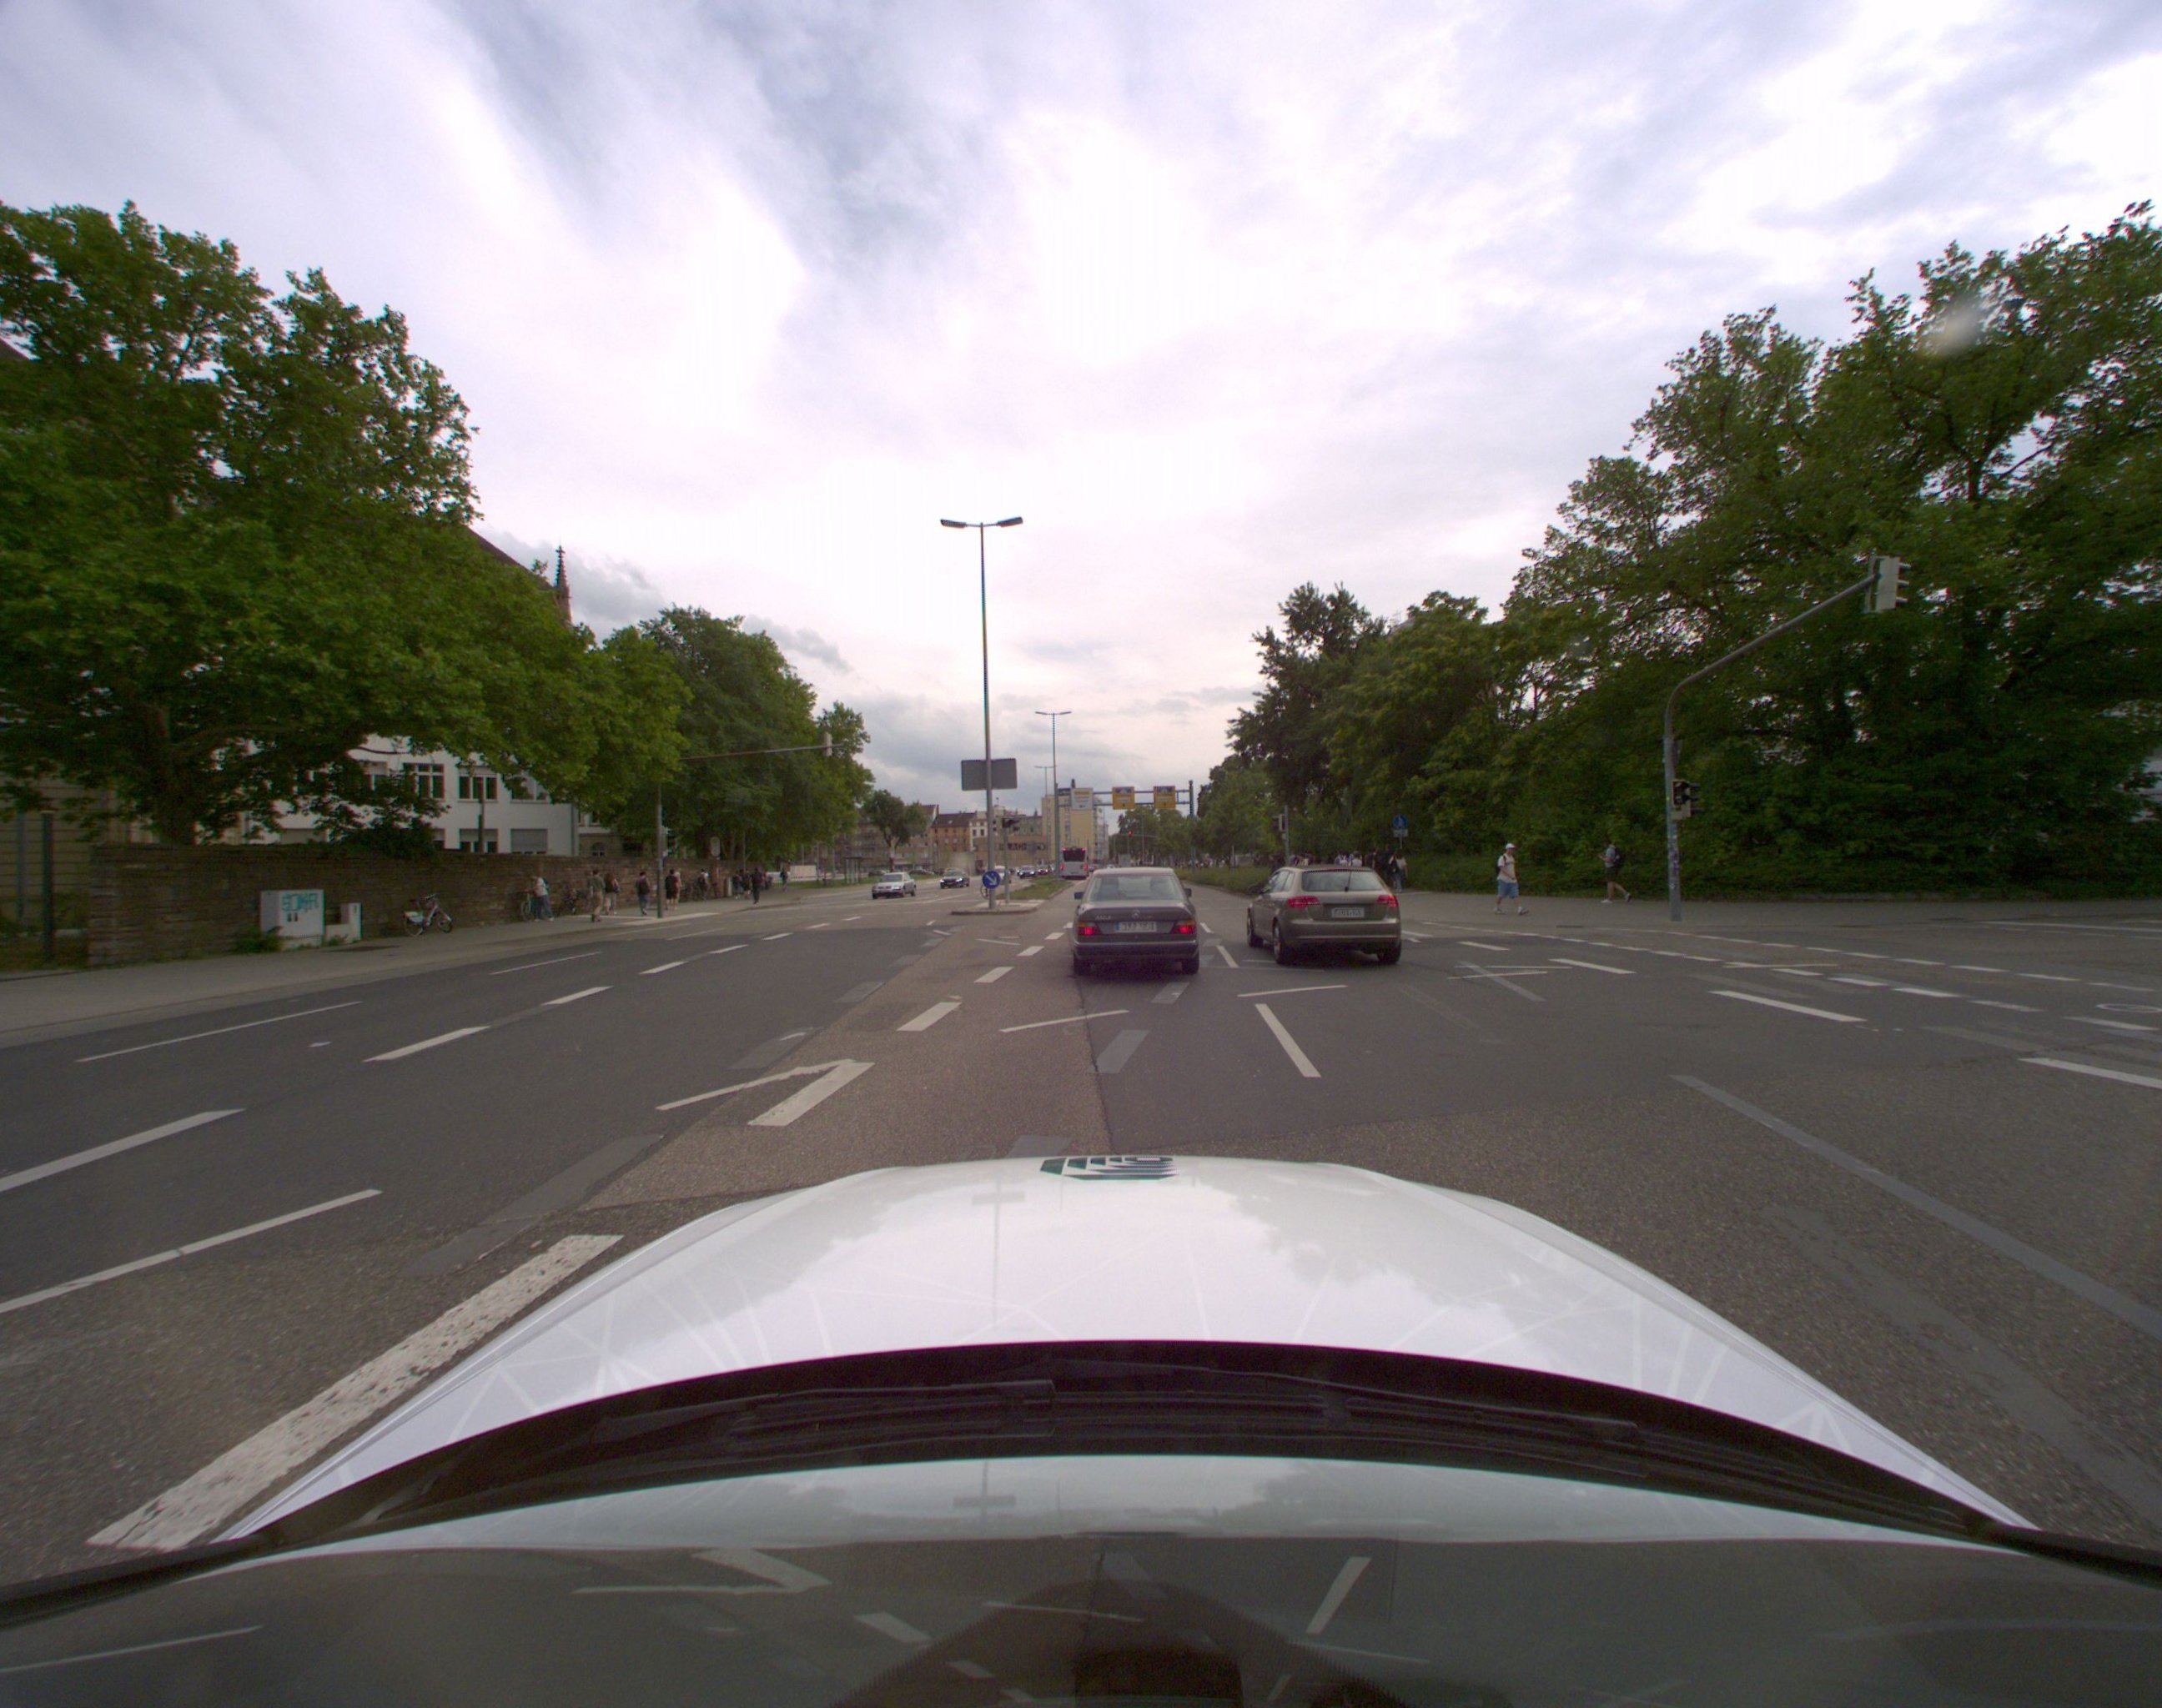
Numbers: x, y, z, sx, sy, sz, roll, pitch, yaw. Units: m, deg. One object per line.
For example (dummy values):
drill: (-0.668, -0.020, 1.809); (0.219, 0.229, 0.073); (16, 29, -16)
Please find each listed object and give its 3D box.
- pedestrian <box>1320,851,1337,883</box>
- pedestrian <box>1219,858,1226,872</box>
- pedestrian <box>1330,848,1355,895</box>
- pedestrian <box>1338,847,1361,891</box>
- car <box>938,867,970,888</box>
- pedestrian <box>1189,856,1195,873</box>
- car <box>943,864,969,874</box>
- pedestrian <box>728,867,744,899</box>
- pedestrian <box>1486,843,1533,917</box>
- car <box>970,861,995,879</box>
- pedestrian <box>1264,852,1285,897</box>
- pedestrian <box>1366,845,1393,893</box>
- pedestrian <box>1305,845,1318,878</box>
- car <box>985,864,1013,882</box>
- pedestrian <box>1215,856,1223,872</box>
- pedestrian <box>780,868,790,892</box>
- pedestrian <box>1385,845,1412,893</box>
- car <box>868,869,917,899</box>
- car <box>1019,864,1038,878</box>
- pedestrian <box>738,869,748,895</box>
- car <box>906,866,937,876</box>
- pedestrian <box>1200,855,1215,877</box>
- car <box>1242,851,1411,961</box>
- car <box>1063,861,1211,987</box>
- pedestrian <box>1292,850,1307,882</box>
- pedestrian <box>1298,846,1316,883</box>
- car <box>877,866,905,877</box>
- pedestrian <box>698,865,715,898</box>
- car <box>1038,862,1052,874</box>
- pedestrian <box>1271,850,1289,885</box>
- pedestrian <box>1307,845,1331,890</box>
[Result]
pedestrian: (12.841, 0.669, 42.236); (0.633, 1.584, 0.785); (-2, -1, 2)
pedestrian: (14.309, 1.104, 82.330); (0.652, 1.470, 0.564); (-2, -1, 18)
pedestrian: (9.874, 0.651, 30.775); (0.622, 1.745, 0.780); (-2, -1, 0)
pedestrian: (10.686, 0.596, 32.435); (0.579, 1.745, 0.789); (-2, -1, 0)
car: (-10.519, 1.895, 67.545); (1.891, 1.616, 4.743); (-2, -1, 0)
pedestrian: (13.088, 1.247, 95.949); (0.612, 2.014, 0.597); (-1, -1, 0)
car: (-19.845, 2.383, 129.463); (3.848, 1.517, 1.658); (0, -1, -4)
pedestrian: (-19.669, 1.646, 46.429); (0.763, 1.783, 0.777); (0, -3, -27)
pedestrian: (10.989, 0.649, 20.900); (0.645, 1.852, 0.825); (0, -1, -13)
car: (-9.772, 1.565, 81.012); (1.857, 1.652, 4.423); (-2, -1, 2)
pedestrian: (7.520, 0.796, 31.619); (0.599, 1.735, 0.654); (-2, -1, -1)
pedestrian: (11.168, 0.551, 30.452); (0.654, 1.745, 0.780); (-2, -1, -1)
pedestrian: (12.578, 0.426, 44.471); (0.482, 1.763, 0.664); (-2, -1, 2)
car: (-7.156, 1.660, 71.442); (1.794, 1.489, 4.292); (-2, -1, 3)
pedestrian: (14.683, 1.060, 86.595); (0.641, 1.713, 0.564); (-2, -1, 16)
pedestrian: (-21.133, 1.864, 58.157); (0.561, 1.668, 0.623); (-1, -2, -15)
pedestrian: (11.868, 0.545, 30.469); (0.654, 1.745, 0.780); (-2, -1, -1)
car: (-10.653, 1.666, 46.300); (1.756, 1.489, 4.543); (-2, -1, -1)
car: (-5.958, 1.976, 92.512); (1.795, 1.511, 4.104); (-2, -1, 1)
pedestrian: (-21.638, 1.791, 52.129); (0.588, 1.592, 0.730); (-1, -2, -21)
car: (-25.239, 2.710, 129.153); (4.659, 1.475, 1.658); (0, -1, -4)
pedestrian: (10.594, 0.994, 68.153); (0.925, 1.830, 0.892); (-2, -1, 29)
car: (3.718, 0.727, 12.987); (1.717, 1.457, 3.739); (-2, -1, 3)
car: (0.716, 0.867, 12.019); (1.755, 1.489, 4.171); (-2, -1, 1)
pedestrian: (11.597, 0.635, 43.309); (0.553, 1.655, 0.754); (-2, -1, 2)
pedestrian: (11.510, 0.529, 41.515); (0.653, 1.821, 0.812); (-2, -1, 2)
car: (-31.012, 2.852, 132.844); (4.147, 1.649, 1.644); (-2, -1, -5)
pedestrian: (-19.474, 1.422, 42.315); (0.763, 1.671, 0.916); (0, -1, -27)
car: (-4.938, 1.941, 111.632); (1.565, 1.489, 3.639); (-4, -1, 3)
pedestrian: (10.634, 0.701, 43.522); (0.690, 1.821, 0.954); (-2, -1, 2)
pedestrian: (9.454, 0.534, 32.368); (0.654, 1.745, 0.780); (-2, -1, -1)
